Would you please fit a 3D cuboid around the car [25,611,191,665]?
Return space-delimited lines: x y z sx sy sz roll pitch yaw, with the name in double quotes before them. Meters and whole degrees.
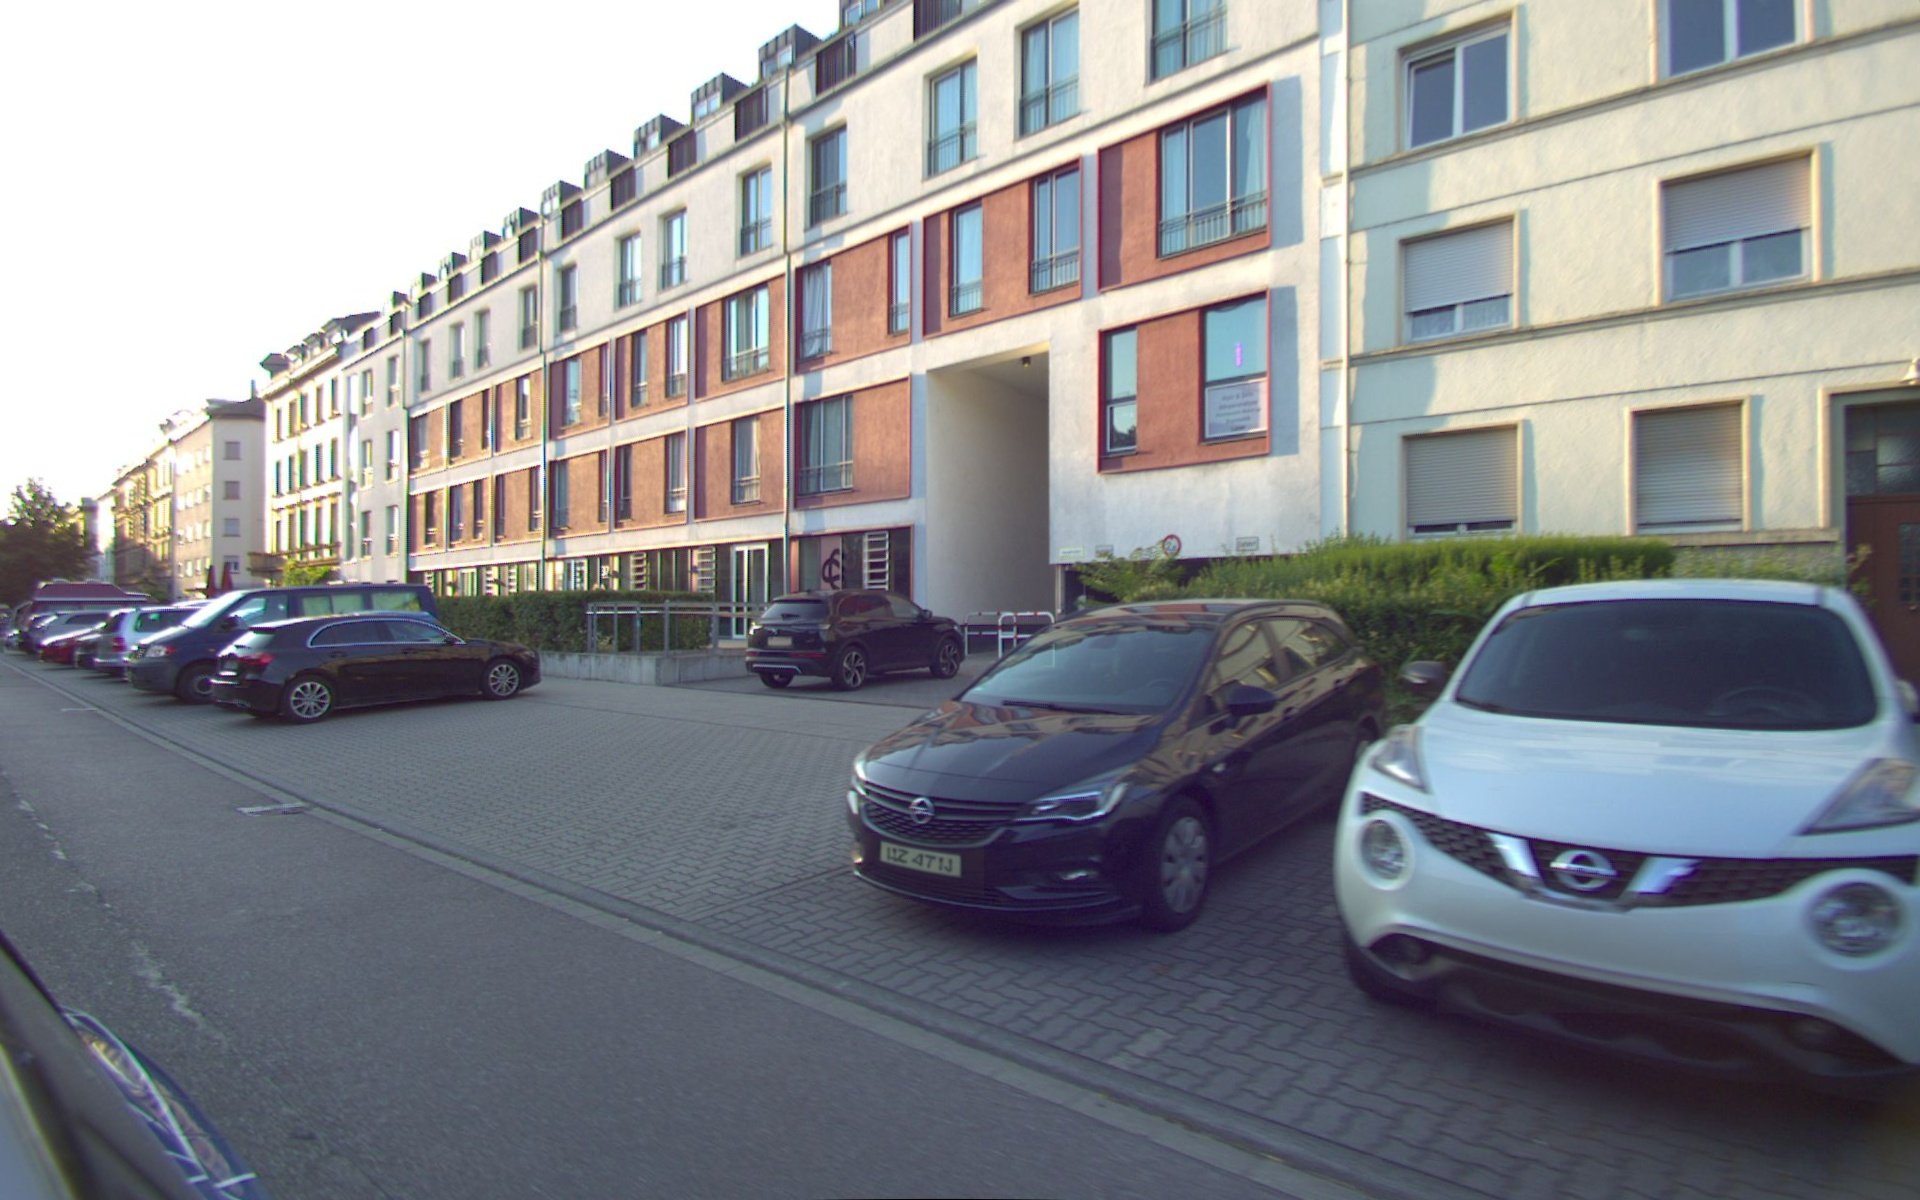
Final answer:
"car" -26.922 1.150 32.055 1.756 1.551 3.904 -1 0 45

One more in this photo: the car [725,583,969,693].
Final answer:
"car" -1.818 0.596 17.328 1.996 1.646 3.951 -2 -1 36

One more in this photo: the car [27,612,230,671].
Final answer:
"car" -23.166 1.096 28.317 1.789 1.505 4.216 -1 -1 43

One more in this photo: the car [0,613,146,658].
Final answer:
"car" -32.577 1.263 37.113 1.801 1.427 3.941 -1 1 36

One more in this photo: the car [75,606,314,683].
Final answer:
"car" -17.578 0.977 23.404 2.048 1.601 3.954 -1 -1 34

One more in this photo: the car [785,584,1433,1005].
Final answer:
"car" 1.246 0.710 6.039 1.826 1.462 4.365 -1 2 39

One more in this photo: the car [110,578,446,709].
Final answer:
"car" -12.273 0.696 18.455 2.001 2.070 4.800 -1 -1 44

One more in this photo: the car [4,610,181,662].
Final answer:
"car" -28.707 1.150 33.590 1.705 1.536 4.290 -1 0 42

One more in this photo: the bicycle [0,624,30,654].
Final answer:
"bicycle" -36.498 1.487 38.994 2.415 1.061 0.794 -1 2 45

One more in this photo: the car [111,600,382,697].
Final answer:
"car" -14.168 0.882 20.261 1.902 1.736 4.140 -1 -1 43

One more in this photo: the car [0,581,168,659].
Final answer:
"car" -30.696 0.668 35.504 1.932 2.576 4.353 -1 -1 44

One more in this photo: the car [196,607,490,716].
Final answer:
"car" -10.145 0.920 16.869 1.652 1.504 3.845 -1 1 39

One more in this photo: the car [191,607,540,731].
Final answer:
"car" -8.620 0.891 14.988 1.736 1.426 4.099 -1 1 38

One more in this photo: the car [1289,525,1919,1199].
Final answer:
"car" 3.098 0.614 4.195 1.812 1.633 4.200 -2 0 40

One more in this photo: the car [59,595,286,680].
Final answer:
"car" -19.388 0.851 25.073 1.895 1.910 4.137 -1 -1 39

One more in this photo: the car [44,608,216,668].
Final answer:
"car" -24.844 1.082 30.364 1.700 1.629 3.842 -1 0 45
